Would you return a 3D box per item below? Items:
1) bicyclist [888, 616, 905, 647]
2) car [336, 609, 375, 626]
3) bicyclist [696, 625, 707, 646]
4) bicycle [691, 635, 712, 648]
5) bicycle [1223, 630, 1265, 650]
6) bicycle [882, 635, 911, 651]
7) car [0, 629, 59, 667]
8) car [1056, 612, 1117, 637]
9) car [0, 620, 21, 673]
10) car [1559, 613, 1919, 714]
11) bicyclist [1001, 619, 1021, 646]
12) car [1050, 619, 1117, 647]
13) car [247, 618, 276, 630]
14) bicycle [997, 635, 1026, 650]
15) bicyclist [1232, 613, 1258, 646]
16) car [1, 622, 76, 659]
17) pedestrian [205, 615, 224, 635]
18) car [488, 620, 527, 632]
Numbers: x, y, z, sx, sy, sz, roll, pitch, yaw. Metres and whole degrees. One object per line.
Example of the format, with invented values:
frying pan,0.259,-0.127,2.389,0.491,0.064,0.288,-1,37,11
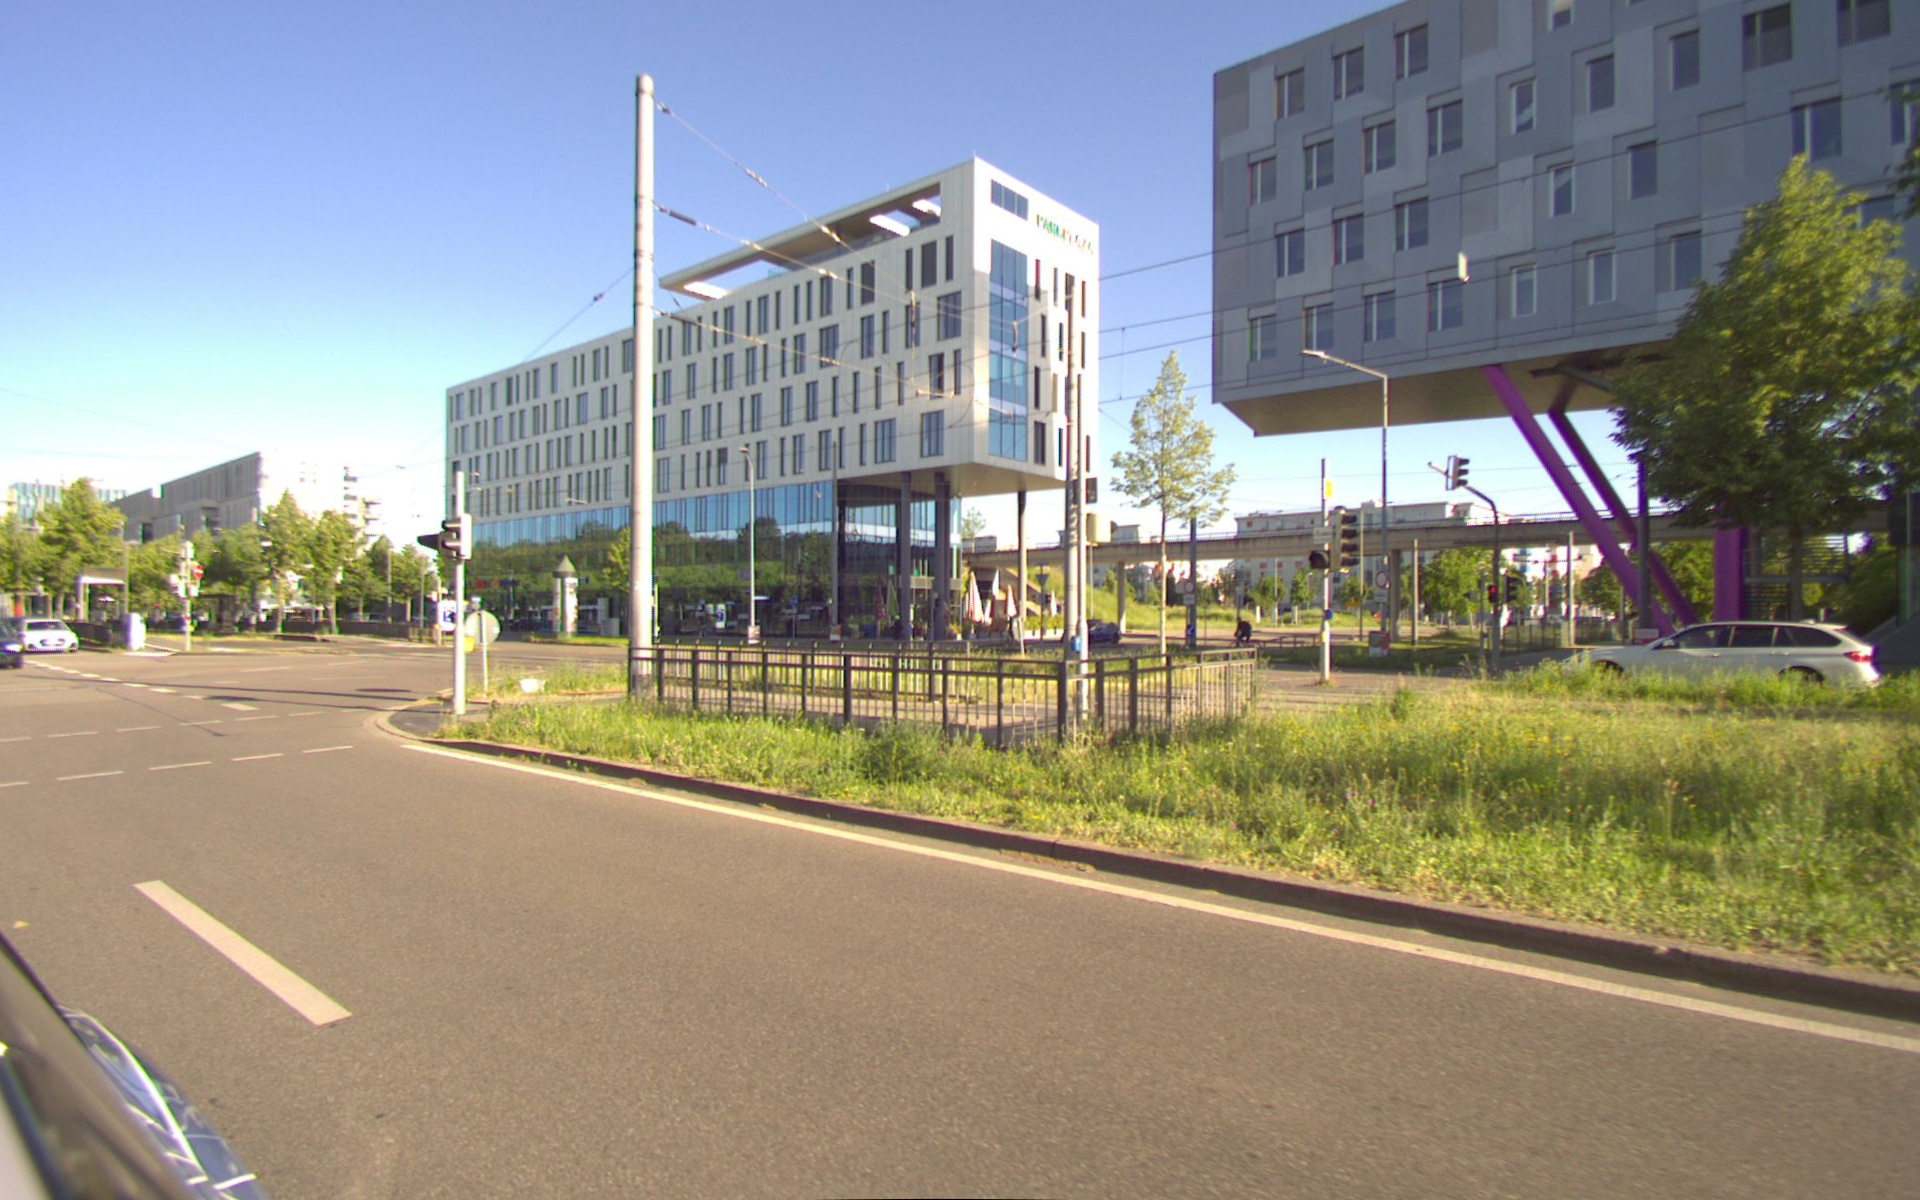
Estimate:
bicyclist,-3.629,1.817,58.060,0.837,1.739,0.524,-2,-2,42
car,-56.198,1.609,94.045,4.339,1.538,1.780,-1,0,40
bicyclist,-17.888,2.477,70.009,0.552,1.434,0.477,-1,-2,39
bicycle,-17.907,2.894,70.016,1.690,0.869,0.477,-1,-2,39
bicycle,12.477,1.743,44.463,1.692,0.869,0.569,-2,-2,42
bicycle,-3.637,2.446,58.056,1.833,0.869,0.522,-2,-2,42
car,-43.037,2.164,46.520,4.339,1.538,1.780,-1,0,40
car,8.206,1.600,65.475,2.000,1.577,3.943,-1,-2,43
car,-29.907,1.405,30.506,4.339,1.538,1.780,-1,0,40
car,13.665,1.036,18.079,4.867,1.574,1.974,-1,-2,40
bicyclist,3.029,1.919,60.440,0.751,1.595,0.943,-2,-2,42
car,7.406,1.953,60.481,2.000,1.577,3.943,-1,-2,43
car,-79.113,2.711,114.571,3.999,1.365,1.850,-1,0,42
bicycle,3.077,2.552,60.471,0.749,0.869,1.805,-2,-2,43
bicyclist,12.505,1.304,44.440,0.958,1.446,0.564,-2,-2,42
car,-38.411,1.661,42.160,4.000,1.437,1.656,-1,0,38
pedestrian,-55.217,1.838,74.975,1.054,1.477,0.844,0,-1,-45
car,-55.006,3.134,123.092,1.873,1.365,3.951,-1,0,36
